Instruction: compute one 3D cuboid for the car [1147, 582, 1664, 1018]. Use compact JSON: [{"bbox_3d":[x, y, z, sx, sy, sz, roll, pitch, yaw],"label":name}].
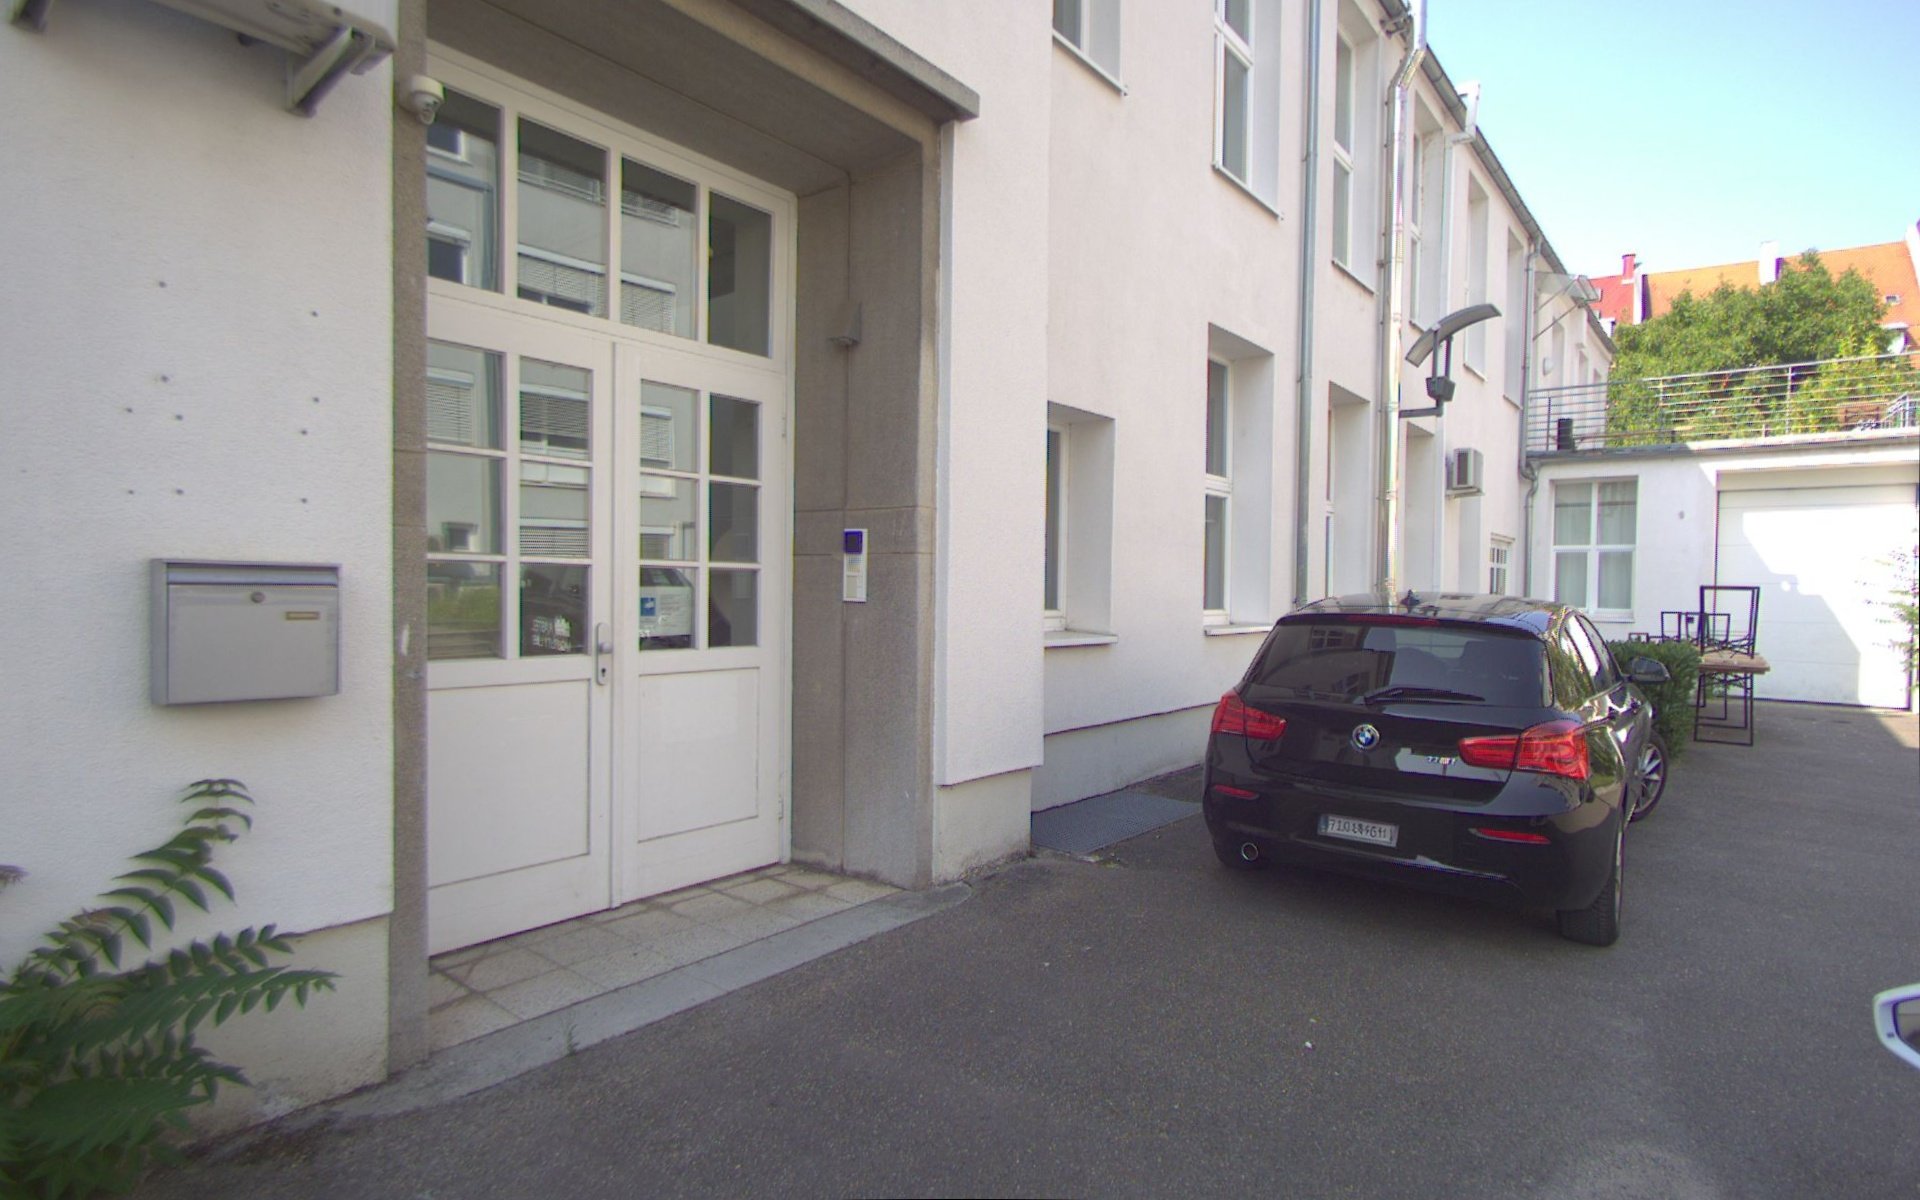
[{"bbox_3d":[2.769,0.662,5.598,1.769,1.448,4.121,2,2,36],"label":"car"}]
